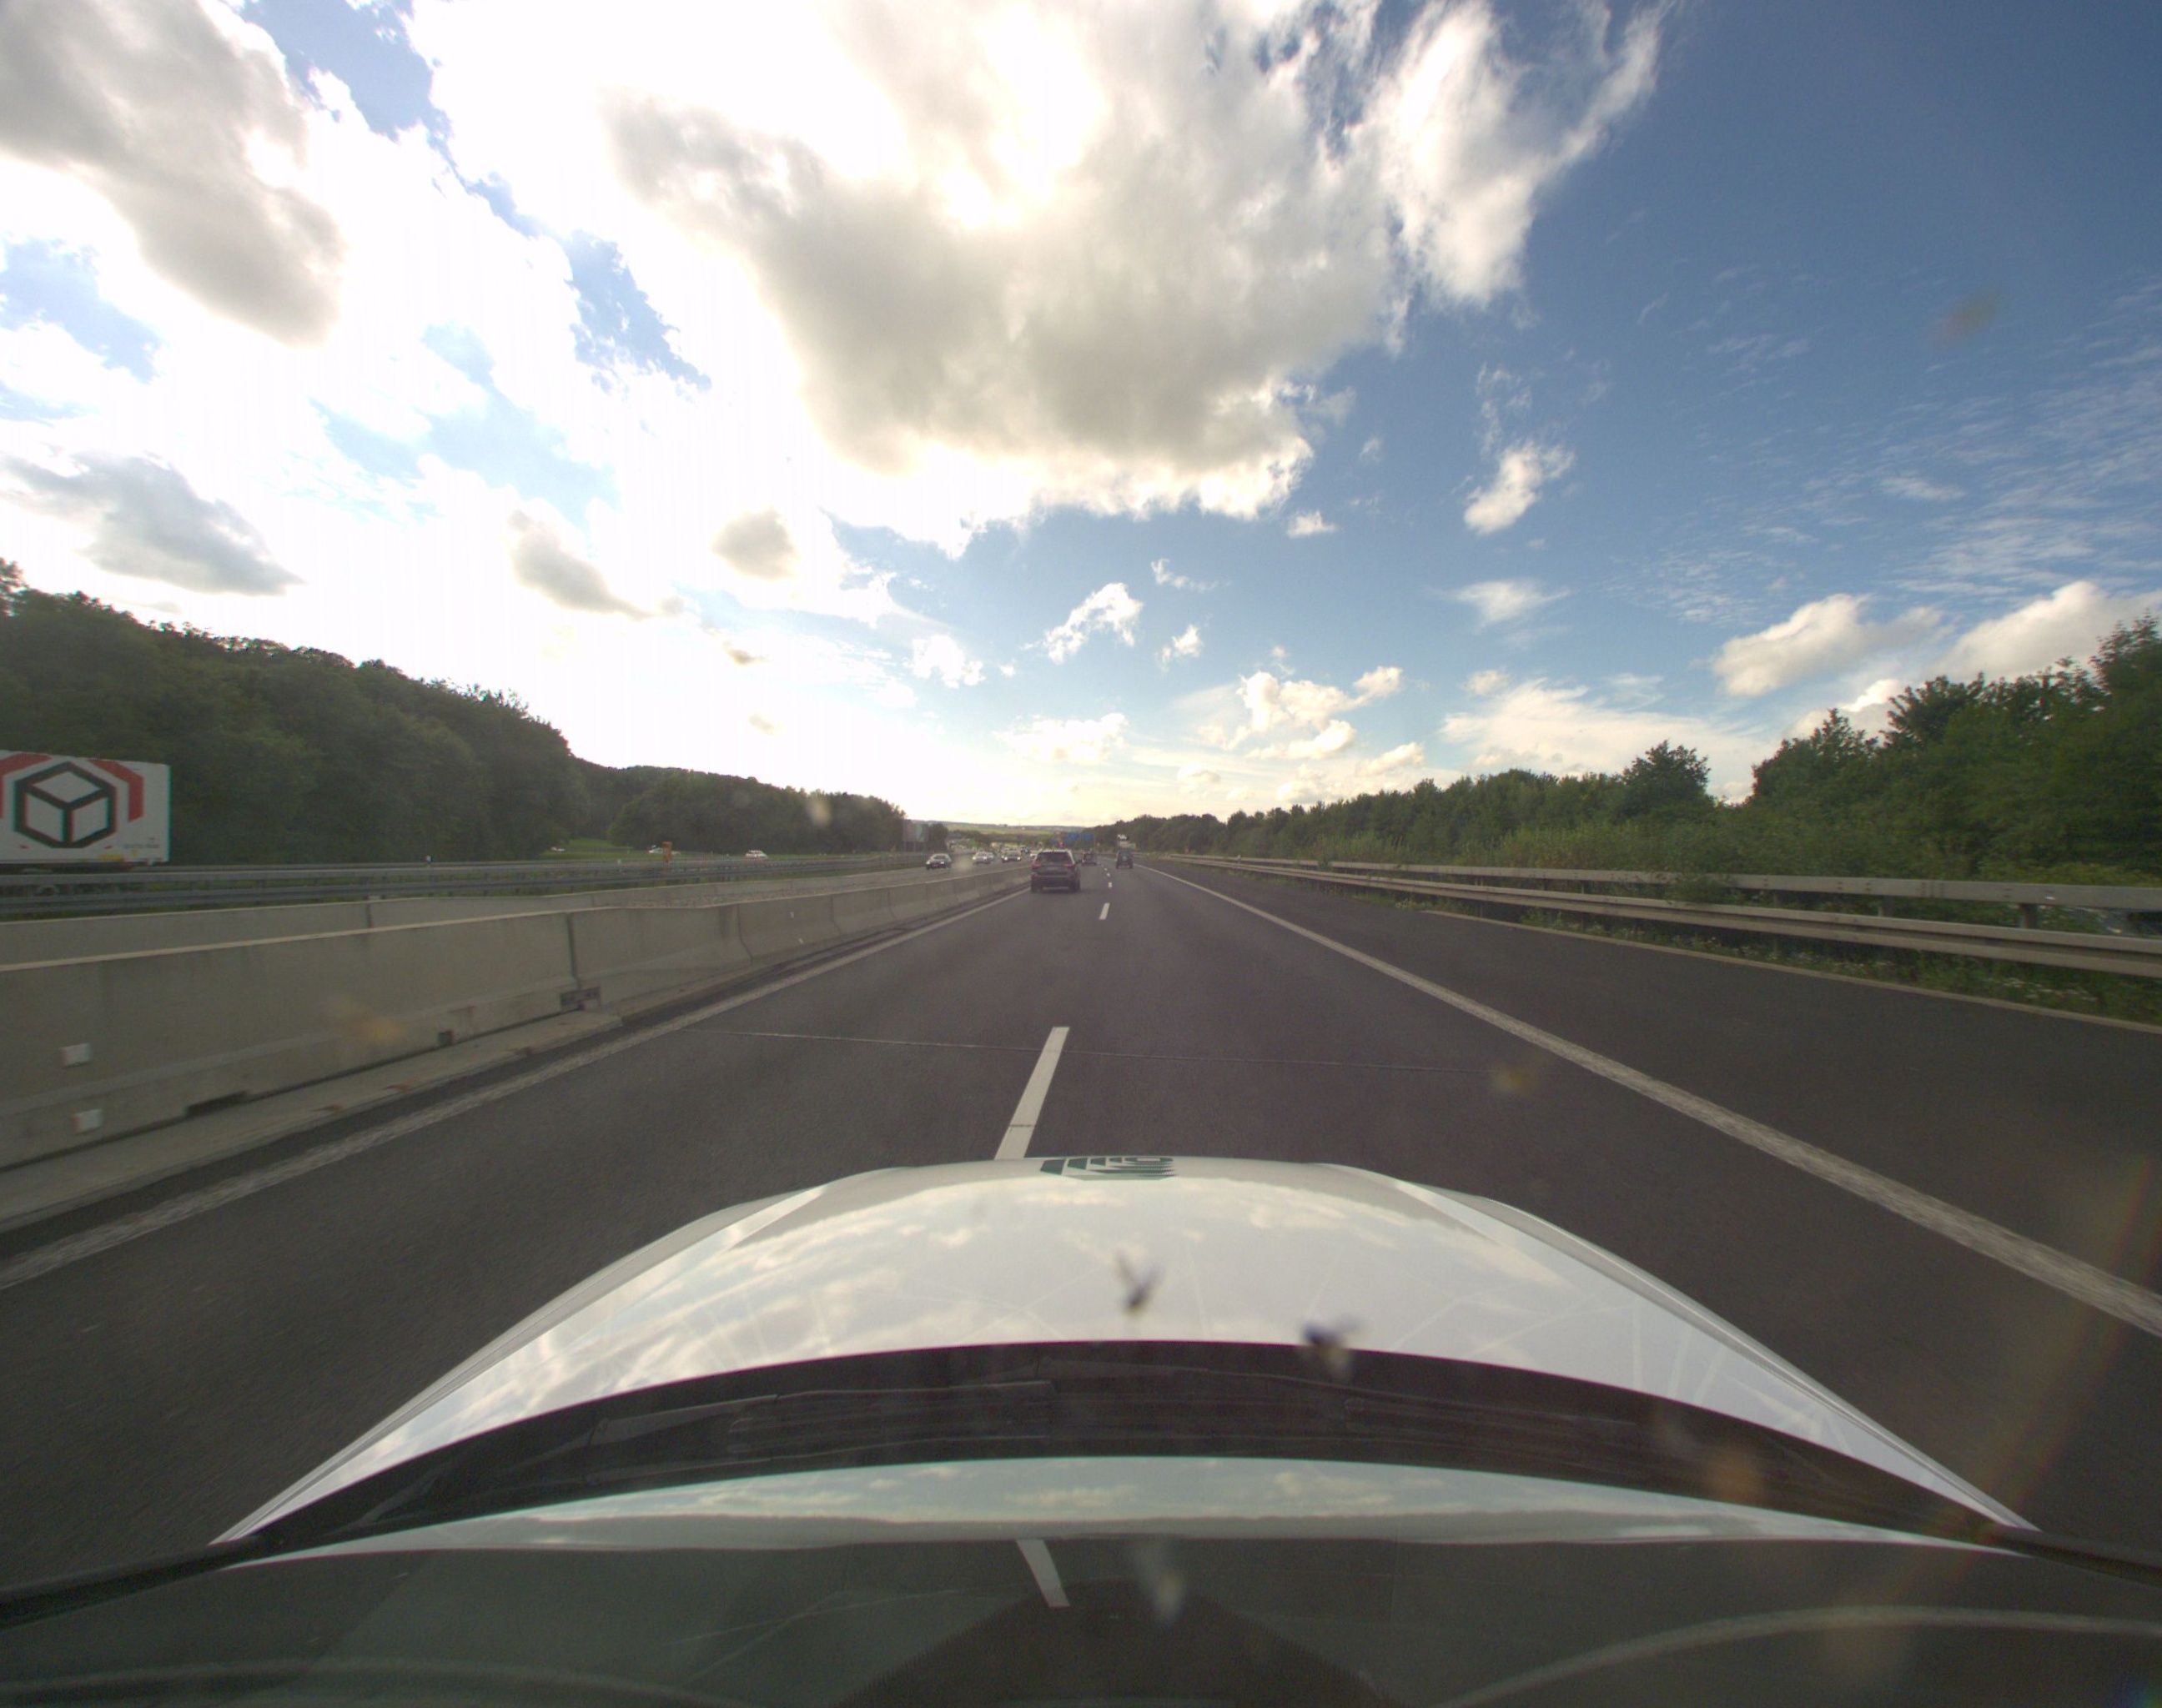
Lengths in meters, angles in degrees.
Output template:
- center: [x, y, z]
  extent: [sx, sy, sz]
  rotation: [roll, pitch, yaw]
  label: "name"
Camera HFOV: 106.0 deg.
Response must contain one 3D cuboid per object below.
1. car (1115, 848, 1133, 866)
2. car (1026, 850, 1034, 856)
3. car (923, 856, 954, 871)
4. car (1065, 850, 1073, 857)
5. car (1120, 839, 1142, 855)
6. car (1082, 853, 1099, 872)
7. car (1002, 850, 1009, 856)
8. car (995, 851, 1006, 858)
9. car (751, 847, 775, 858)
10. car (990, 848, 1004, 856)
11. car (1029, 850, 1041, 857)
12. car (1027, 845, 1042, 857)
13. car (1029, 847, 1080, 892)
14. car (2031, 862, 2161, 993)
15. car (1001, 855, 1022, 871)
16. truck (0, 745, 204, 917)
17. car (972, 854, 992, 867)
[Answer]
- center: [4.105, 0.266, 78.042]
  extent: [1.581, 1.597, 4.097]
  rotation: [0, 0, 1]
  label: "car"
- center: [-15.988, -0.409, 255.955]
  extent: [1.987, 1.920, 5.147]
  rotation: [0, 0, -1]
  label: "car"
- center: [-13.618, 0.892, 78.008]
  extent: [1.987, 1.402, 4.813]
  rotation: [-1, 0, 1]
  label: "car"
- center: [-3.043, -0.033, 201.145]
  extent: [1.988, 1.684, 3.997]
  rotation: [0, -1, -1]
  label: "car"
- center: [14.580, -2.003, 237.520]
  extent: [4.721, 4.266, 11.383]
  rotation: [0, -1, -5]
  label: "car"
- center: [1.164, 0.952, 96.963]
  extent: [2.023, 2.151, 4.001]
  rotation: [0, 0, 1]
  label: "car"
- center: [-22.271, -0.285, 239.847]
  extent: [1.989, 1.814, 4.237]
  rotation: [0, 0, -3]
  label: "car"
- center: [-16.647, 0.065, 168.415]
  extent: [1.862, 1.337, 4.228]
  rotation: [-1, 0, 0]
  label: "car"
- center: [-42.944, -0.158, 109.861]
  extent: [1.797, 1.431, 4.572]
  rotation: [0, 0, -38]
  label: "car"
- center: [-14.201, -0.365, 138.382]
  extent: [1.879, 1.429, 4.578]
  rotation: [-1, 0, 1]
  label: "car"
- center: [-9.383, -0.036, 165.901]
  extent: [2.039, 1.337, 5.607]
  rotation: [-1, 0, 0]
  label: "car"
- center: [-6.916, -0.408, 122.571]
  extent: [1.879, 1.785, 4.953]
  rotation: [-1, 0, 1]
  label: "car"
- center: [-1.019, 0.608, 34.116]
  extent: [1.811, 1.736, 5.188]
  rotation: [0, 0, 1]
  label: "car"
- center: [13.942, 0.900, 9.095]
  extent: [1.776, 1.571, 4.349]
  rotation: [0, 0, 4]
  label: "car"
- center: [-8.032, 1.032, 94.968]
  extent: [1.879, 1.703, 4.967]
  rotation: [-1, 0, 1]
  label: "car"
- center: [-26.392, -0.544, 17.803]
  extent: [2.891, 3.969, 10.465]
  rotation: [0, -1, 1]
  label: "truck"
- center: [-12.355, 0.773, 101.935]
  extent: [1.880, 1.610, 4.965]
  rotation: [-1, 0, -1]
  label: "car"
